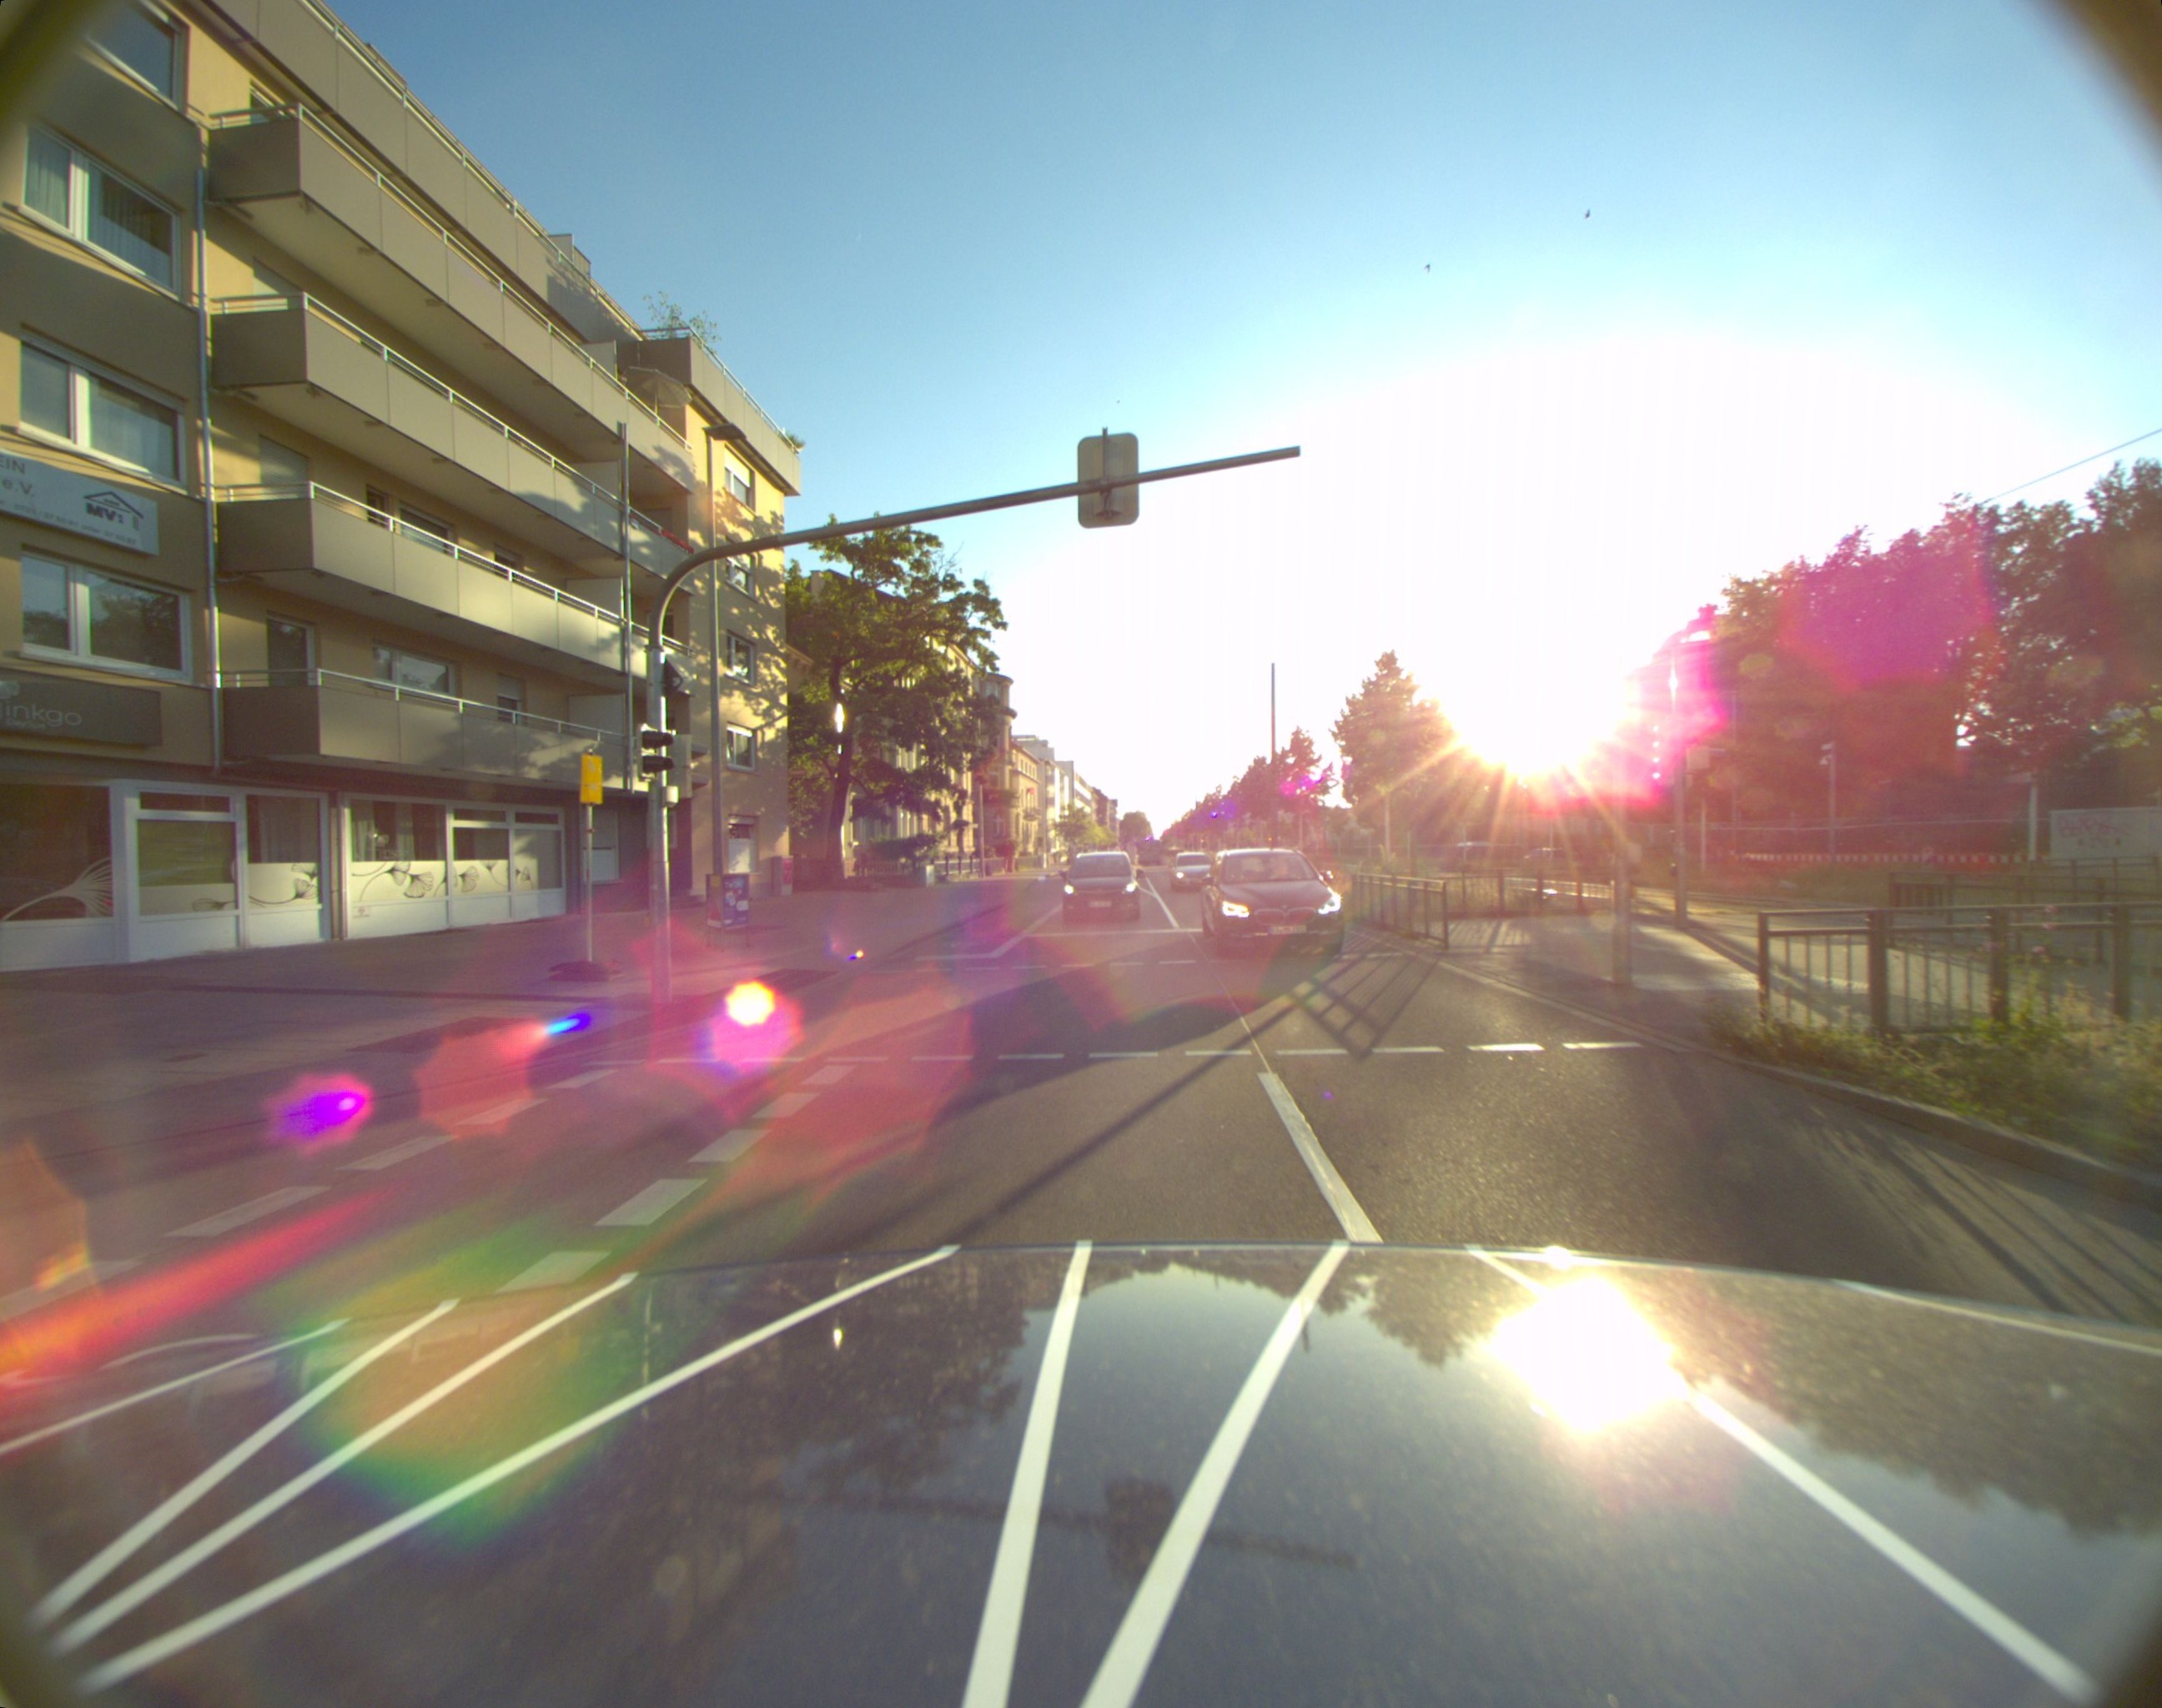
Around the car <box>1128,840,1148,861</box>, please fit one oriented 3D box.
[{"bbox_3d":[5.591,-0.349,74.797,1.726,1.910,4.294,-3,0,1],"label":"car"}]

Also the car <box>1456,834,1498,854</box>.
[{"bbox_3d":[34.453,-0.855,66.229,1.848,1.551,3.801,-3,0,4],"label":"car"}]

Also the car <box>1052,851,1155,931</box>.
[{"bbox_3d":[0.681,0.796,18.402,1.826,1.589,4.369,-3,0,10],"label":"car"}]

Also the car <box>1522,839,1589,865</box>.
[{"bbox_3d":[28.066,-0.140,45.083,1.771,1.362,3.718,-3,0,3],"label":"car"}]

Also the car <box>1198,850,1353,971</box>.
[{"bbox_3d":[2.945,0.745,12.485,1.824,1.510,4.793,-2,1,7],"label":"car"}]

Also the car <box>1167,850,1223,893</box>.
[{"bbox_3d":[4.479,0.642,30.412,1.832,1.455,4.304,-3,0,5],"label":"car"}]

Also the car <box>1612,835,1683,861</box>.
[{"bbox_3d":[32.658,-0.344,43.924,1.695,1.362,3.696,-3,0,7],"label":"car"}]
